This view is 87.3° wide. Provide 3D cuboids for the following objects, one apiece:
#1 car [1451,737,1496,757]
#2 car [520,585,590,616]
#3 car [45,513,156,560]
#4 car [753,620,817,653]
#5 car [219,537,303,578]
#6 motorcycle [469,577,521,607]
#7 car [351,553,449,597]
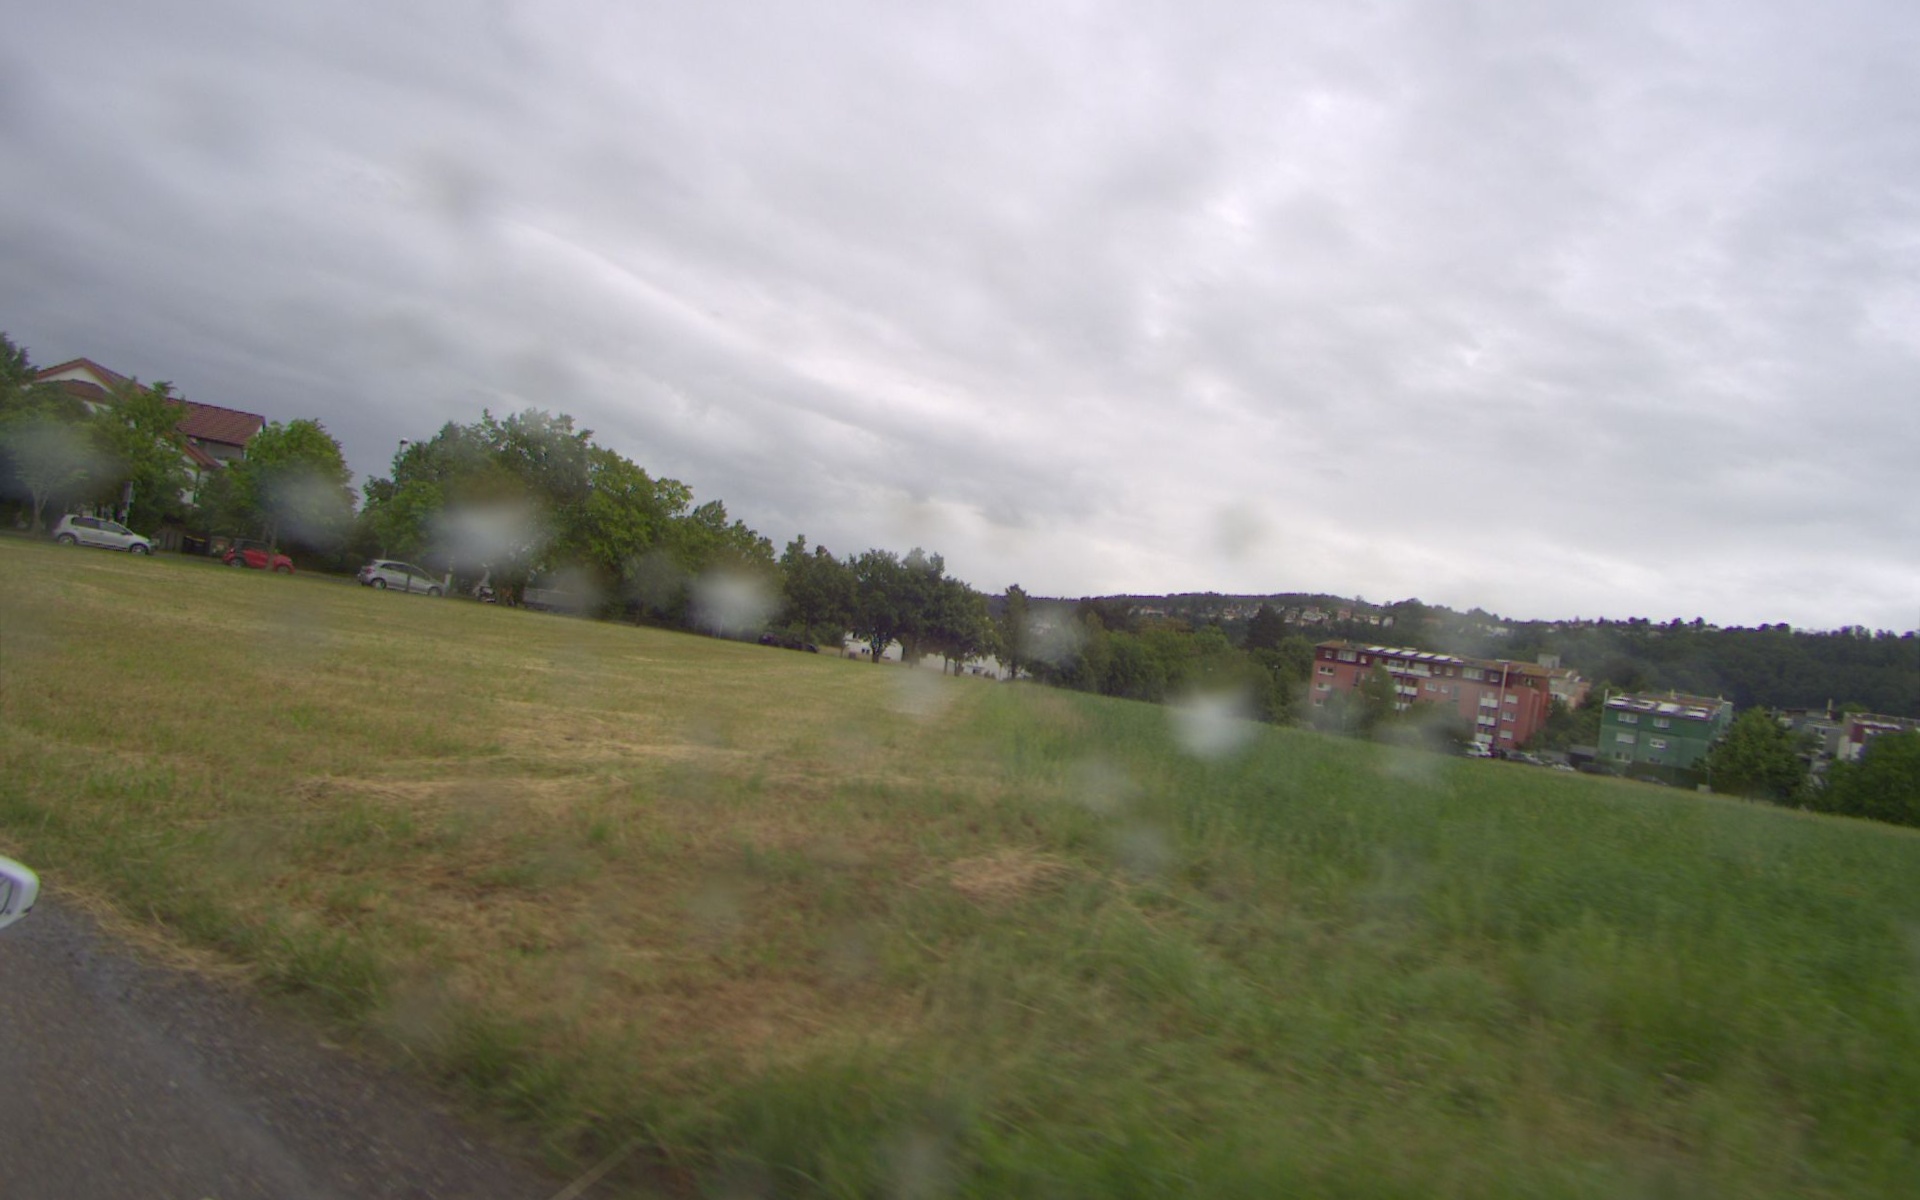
[{"bbox_3d":[74.076,21.149,145.206,1.987,2.036,5.220,9,-3,-42],"label":"car"},{"bbox_3d":[-23.547,0.056,58.545,1.710,1.295,3.315,6,-3,42],"label":"car"},{"bbox_3d":[-37.679,-2.754,44.176,3.531,1.496,1.661,9,-3,-41],"label":"car"},{"bbox_3d":[-12.417,2.610,71.638,1.935,1.623,3.991,6,-6,41],"label":"car"},{"bbox_3d":[-33.503,-2.029,48.237,2.994,1.452,1.536,10,-4,-42],"label":"car"},{"bbox_3d":[-25.702,-0.438,55.649,0.958,1.316,2.256,6,-3,43],"label":"motorcycle"},{"bbox_3d":[-29.257,-1.285,52.629,1.827,1.568,3.974,6,-4,43],"label":"car"}]
